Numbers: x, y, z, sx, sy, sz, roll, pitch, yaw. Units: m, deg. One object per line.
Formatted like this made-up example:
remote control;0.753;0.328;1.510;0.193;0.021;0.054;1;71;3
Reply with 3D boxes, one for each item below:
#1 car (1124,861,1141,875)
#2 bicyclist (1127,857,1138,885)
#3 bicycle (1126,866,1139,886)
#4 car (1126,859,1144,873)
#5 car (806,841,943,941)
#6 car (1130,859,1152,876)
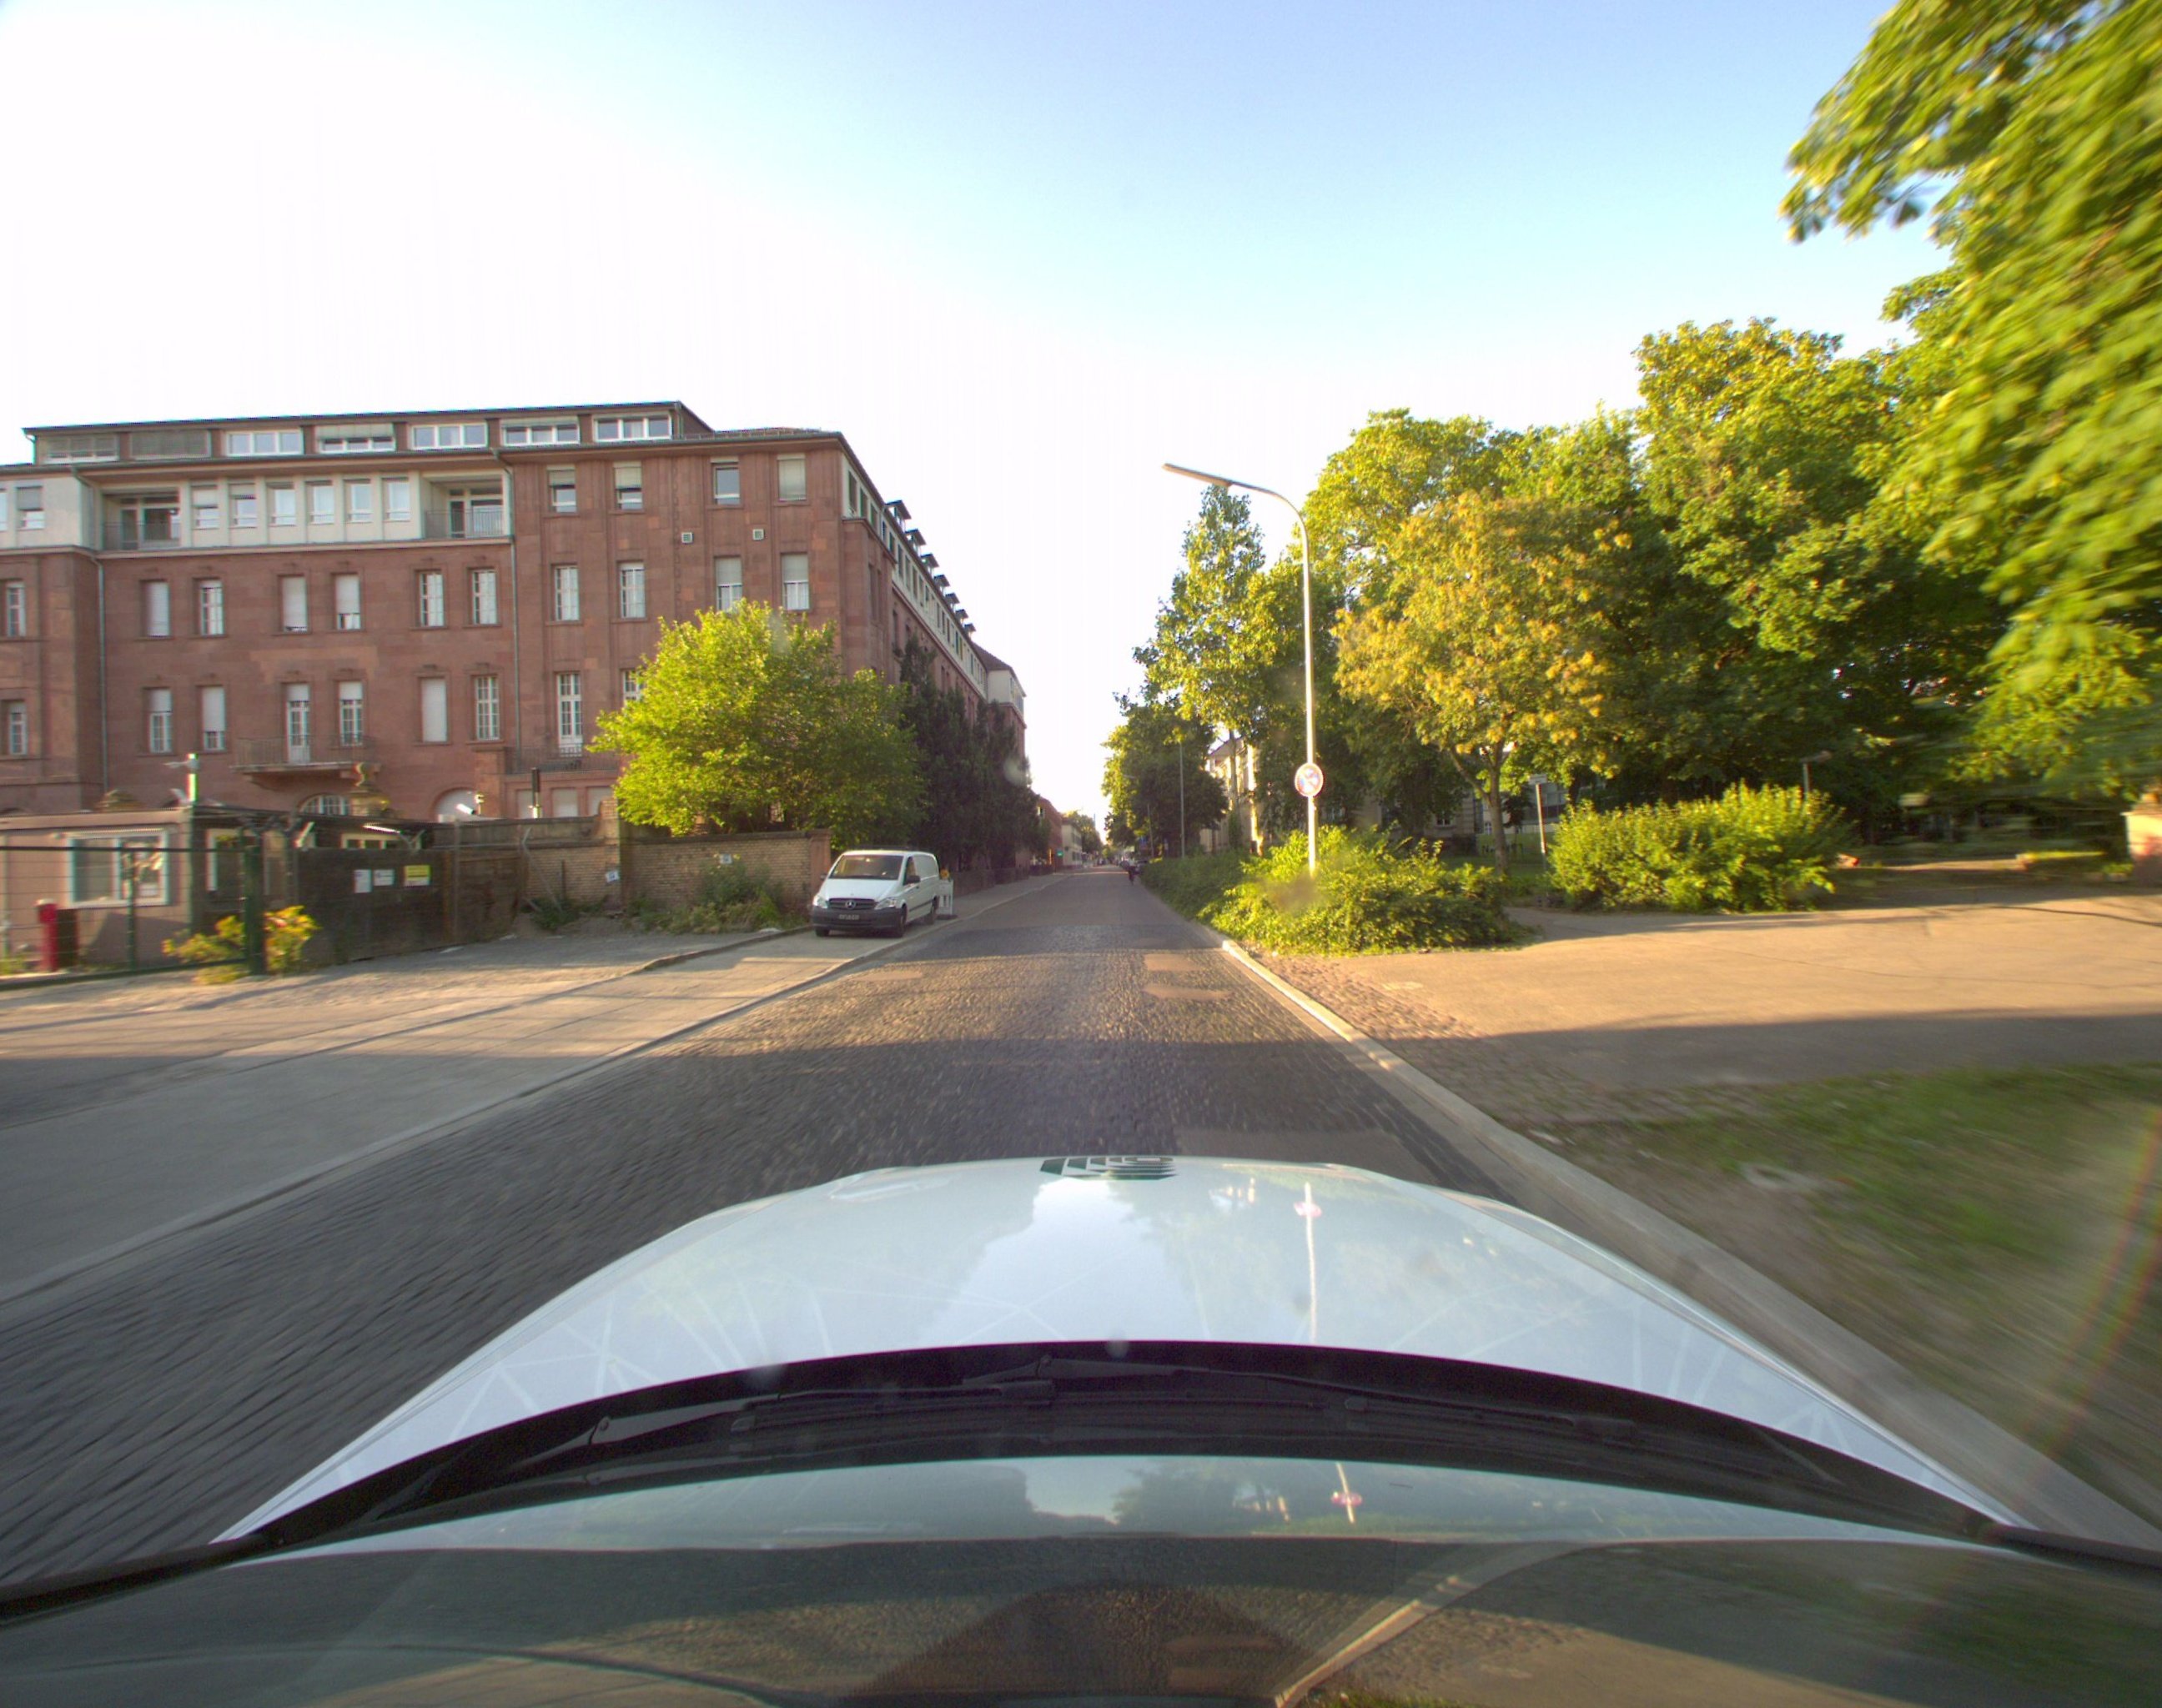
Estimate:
car;6.772;1.892;107.938;1.986;1.706;4.000;-3;-1;1
bicyclist;3.111;1.016;49.321;0.637;1.667;0.842;-1;-1;0
bicycle;3.119;1.321;49.255;0.636;1.193;1.876;-1;-1;0
car;6.105;1.369;92.063;1.710;1.538;4.048;-2;-1;0
car;-4.659;0.824;19.248;1.876;2.014;5.225;0;-2;0
car;5.748;1.321;78.374;1.680;1.447;3.671;-5;-2;0
